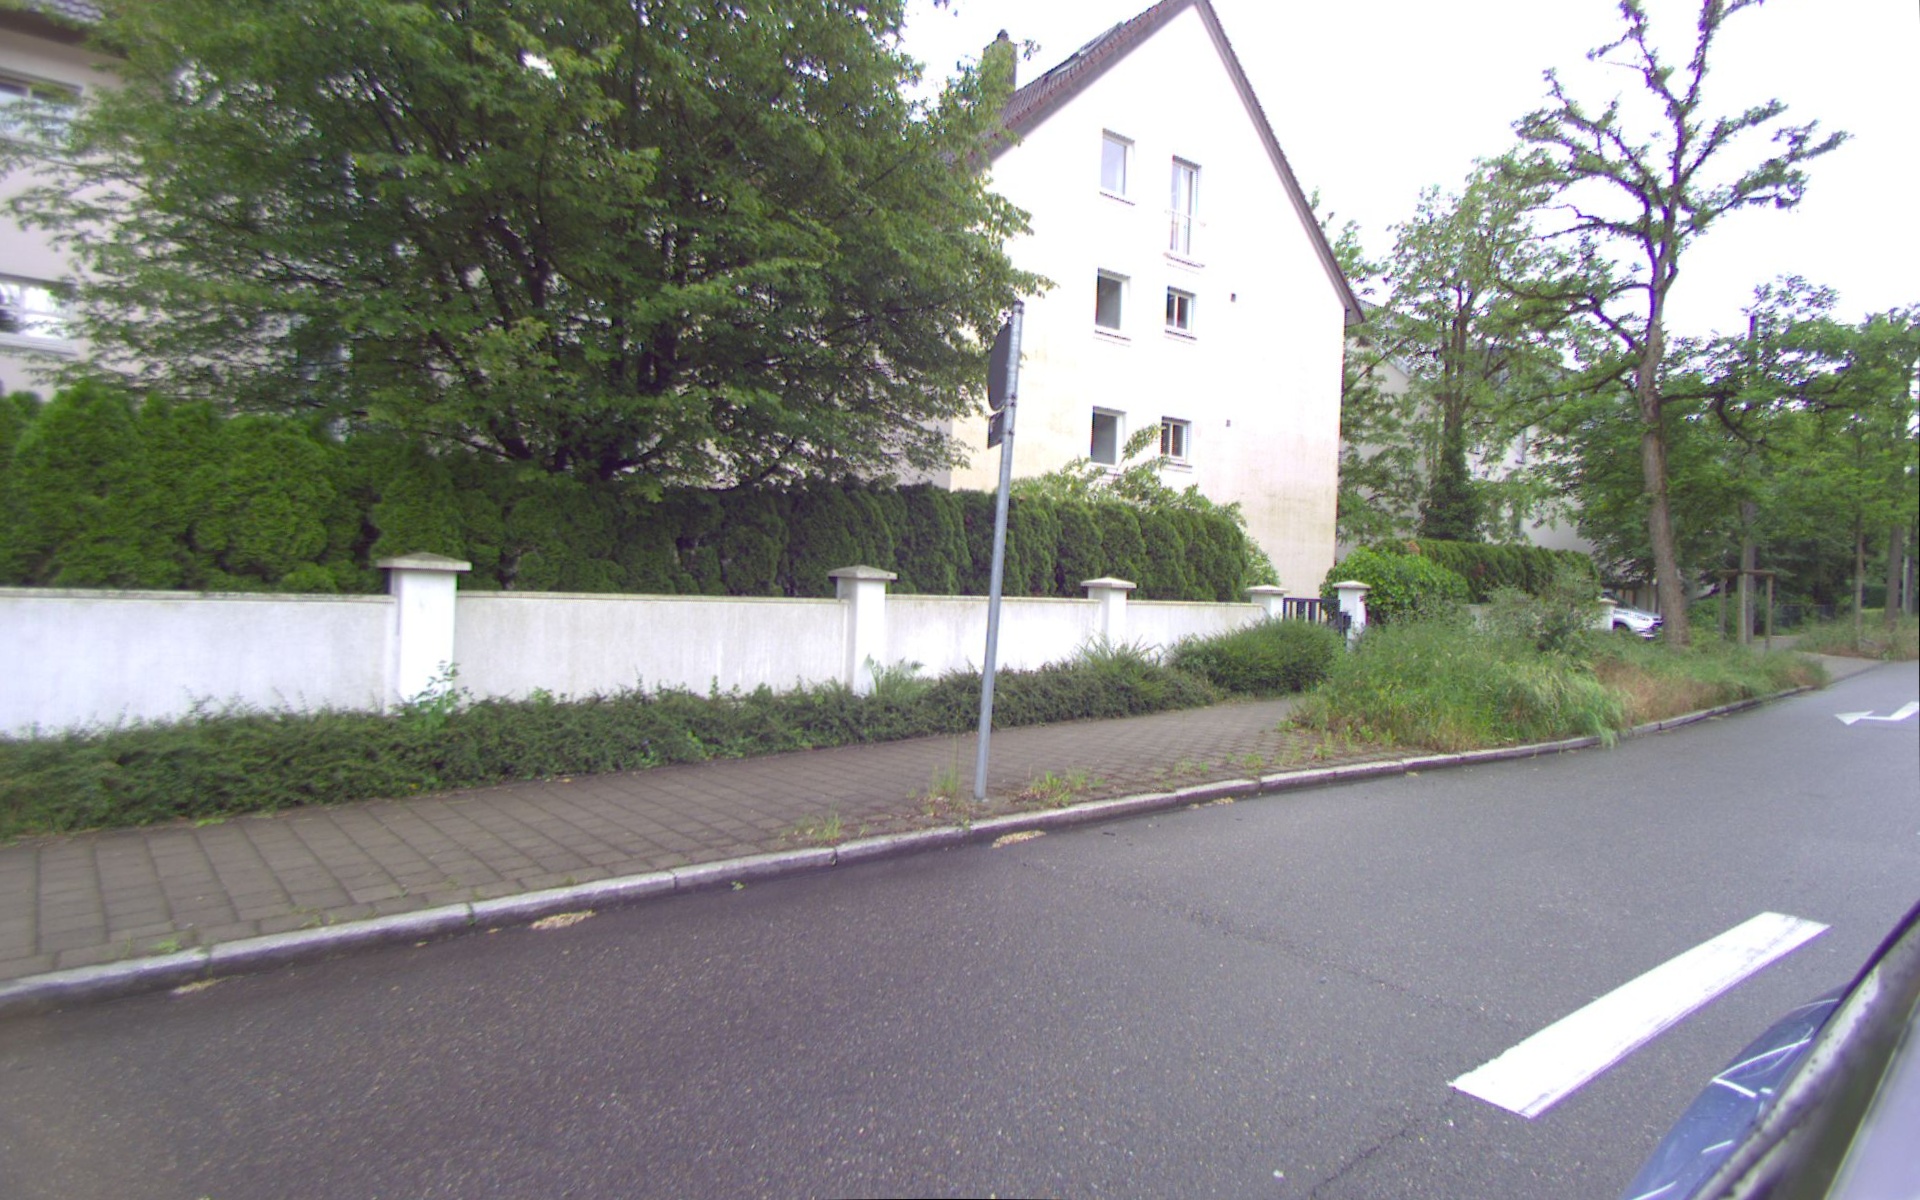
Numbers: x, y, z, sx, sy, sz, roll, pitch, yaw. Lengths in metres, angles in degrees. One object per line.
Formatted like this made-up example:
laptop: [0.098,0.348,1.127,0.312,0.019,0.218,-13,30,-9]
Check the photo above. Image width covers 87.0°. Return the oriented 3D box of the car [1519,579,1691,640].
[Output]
car: [20.673,0.248,32.625,1.837,1.840,4.322,1,1,-31]
